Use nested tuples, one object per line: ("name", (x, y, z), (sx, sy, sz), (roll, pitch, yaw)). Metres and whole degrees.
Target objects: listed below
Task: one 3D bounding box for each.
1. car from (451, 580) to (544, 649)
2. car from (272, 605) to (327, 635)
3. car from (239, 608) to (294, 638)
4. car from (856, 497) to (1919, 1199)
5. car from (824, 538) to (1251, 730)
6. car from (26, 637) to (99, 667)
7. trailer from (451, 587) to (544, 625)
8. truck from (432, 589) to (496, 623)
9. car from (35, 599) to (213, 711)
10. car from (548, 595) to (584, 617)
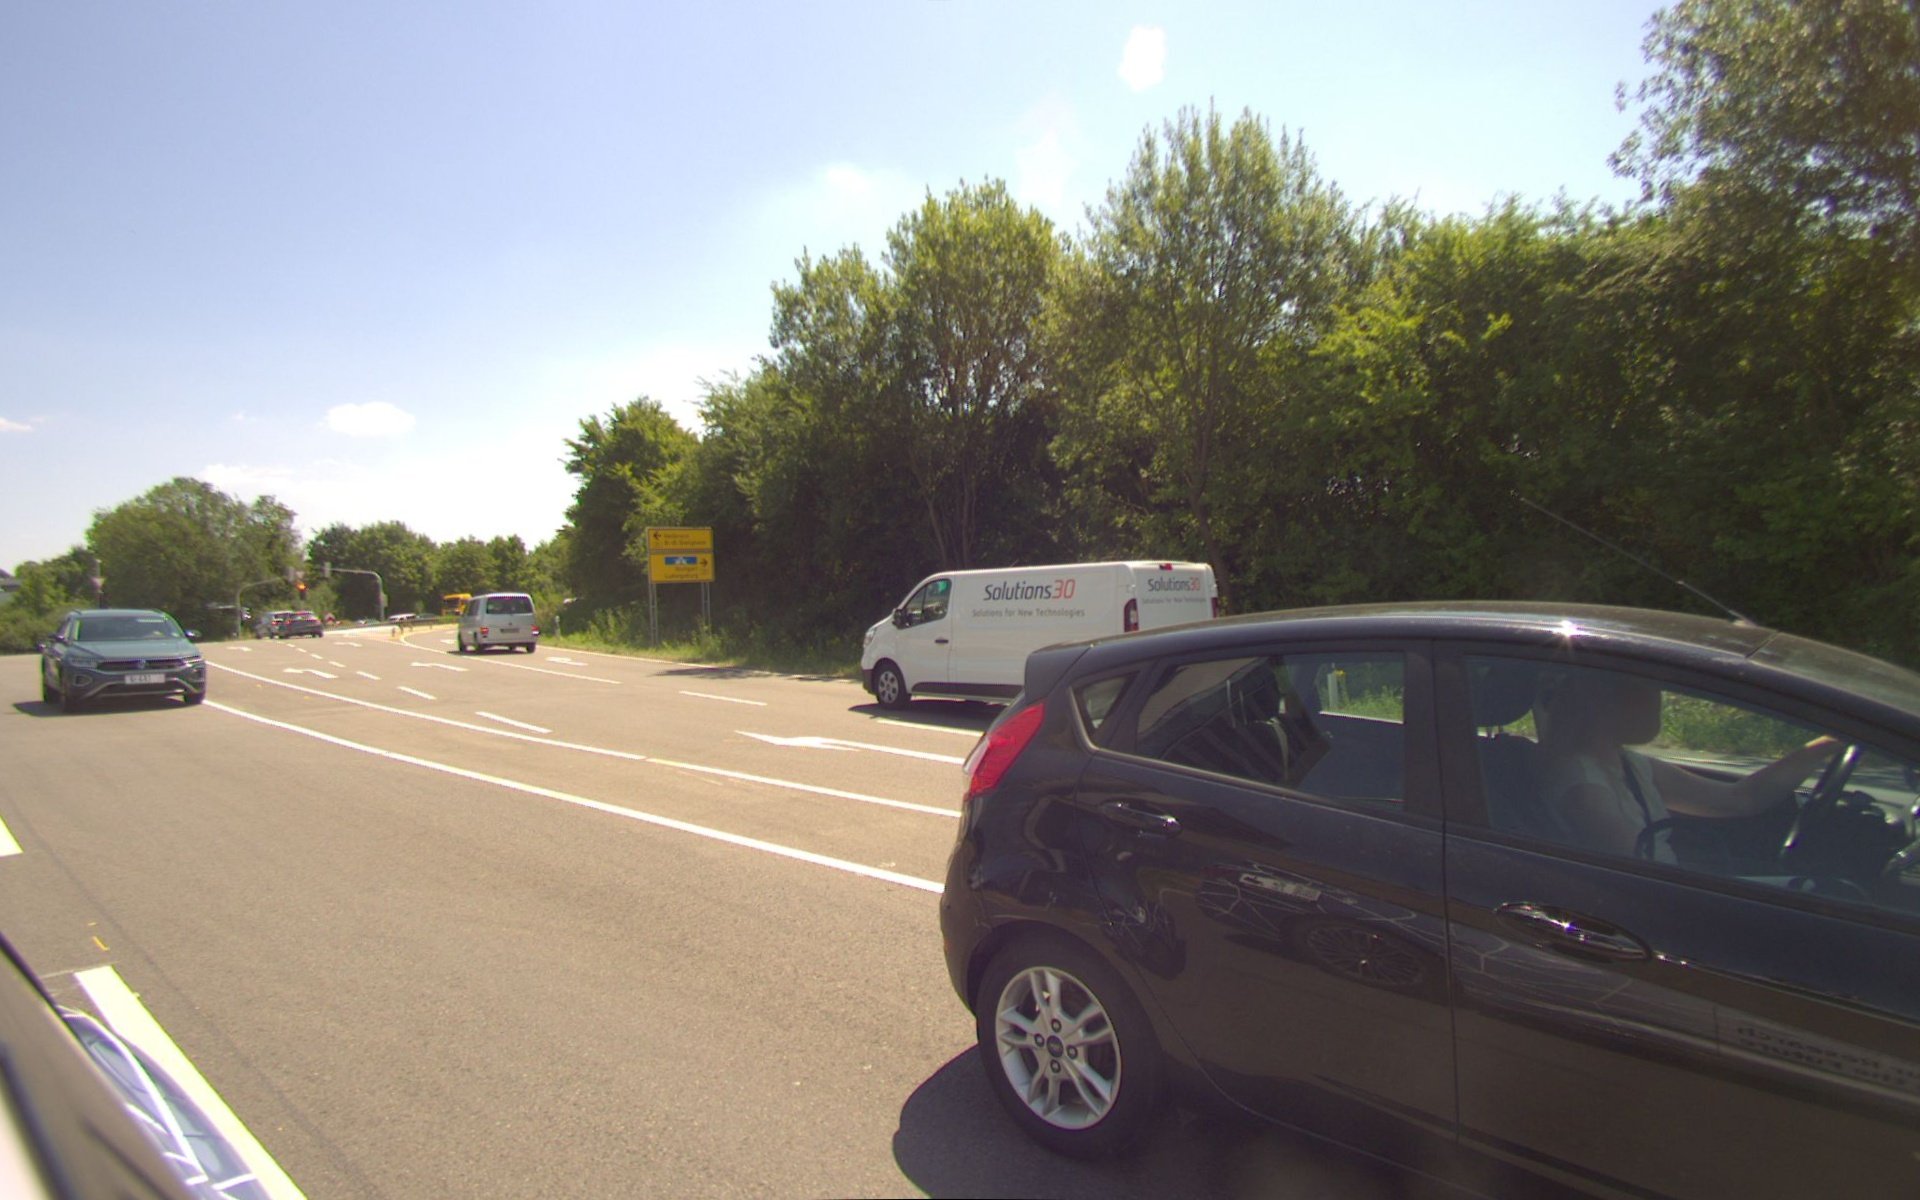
("car", (-15.538, 0.491, 33.872), (1.948, 2.028, 4.853), (-5, 1, -34))
("car", (-36.216, 1.103, 55.436), (1.969, 1.449, 4.229), (-4, 1, -40))
("car", (-41.751, 1.390, 60.881), (4.351, 1.611, 1.592), (-3, 1, 41))
("car", (1.834, 0.584, 2.259), (4.204, 1.505, 1.636), (-2, 0, 41))
("car", (0.739, 0.378, 13.540), (2.051, 2.029, 5.813), (-2, 0, -43))
("car", (-55.736, 3.214, 62.962), (2.082, 1.603, 4.465), (-1, 0, -23))
("trailer", (-55.909, 0.587, 123.001), (3.041, 4.093, 13.128), (-3, 1, 11))
("truck", (-57.129, 0.658, 116.834), (2.955, 3.564, 6.832), (-3, 1, 12))
("car", (-13.947, 0.823, 16.791), (4.393, 1.598, 1.814), (-1, 0, 44))
("car", (-52.655, 0.805, 135.396), (2.142, 2.626, 5.472), (-4, 1, 5))
